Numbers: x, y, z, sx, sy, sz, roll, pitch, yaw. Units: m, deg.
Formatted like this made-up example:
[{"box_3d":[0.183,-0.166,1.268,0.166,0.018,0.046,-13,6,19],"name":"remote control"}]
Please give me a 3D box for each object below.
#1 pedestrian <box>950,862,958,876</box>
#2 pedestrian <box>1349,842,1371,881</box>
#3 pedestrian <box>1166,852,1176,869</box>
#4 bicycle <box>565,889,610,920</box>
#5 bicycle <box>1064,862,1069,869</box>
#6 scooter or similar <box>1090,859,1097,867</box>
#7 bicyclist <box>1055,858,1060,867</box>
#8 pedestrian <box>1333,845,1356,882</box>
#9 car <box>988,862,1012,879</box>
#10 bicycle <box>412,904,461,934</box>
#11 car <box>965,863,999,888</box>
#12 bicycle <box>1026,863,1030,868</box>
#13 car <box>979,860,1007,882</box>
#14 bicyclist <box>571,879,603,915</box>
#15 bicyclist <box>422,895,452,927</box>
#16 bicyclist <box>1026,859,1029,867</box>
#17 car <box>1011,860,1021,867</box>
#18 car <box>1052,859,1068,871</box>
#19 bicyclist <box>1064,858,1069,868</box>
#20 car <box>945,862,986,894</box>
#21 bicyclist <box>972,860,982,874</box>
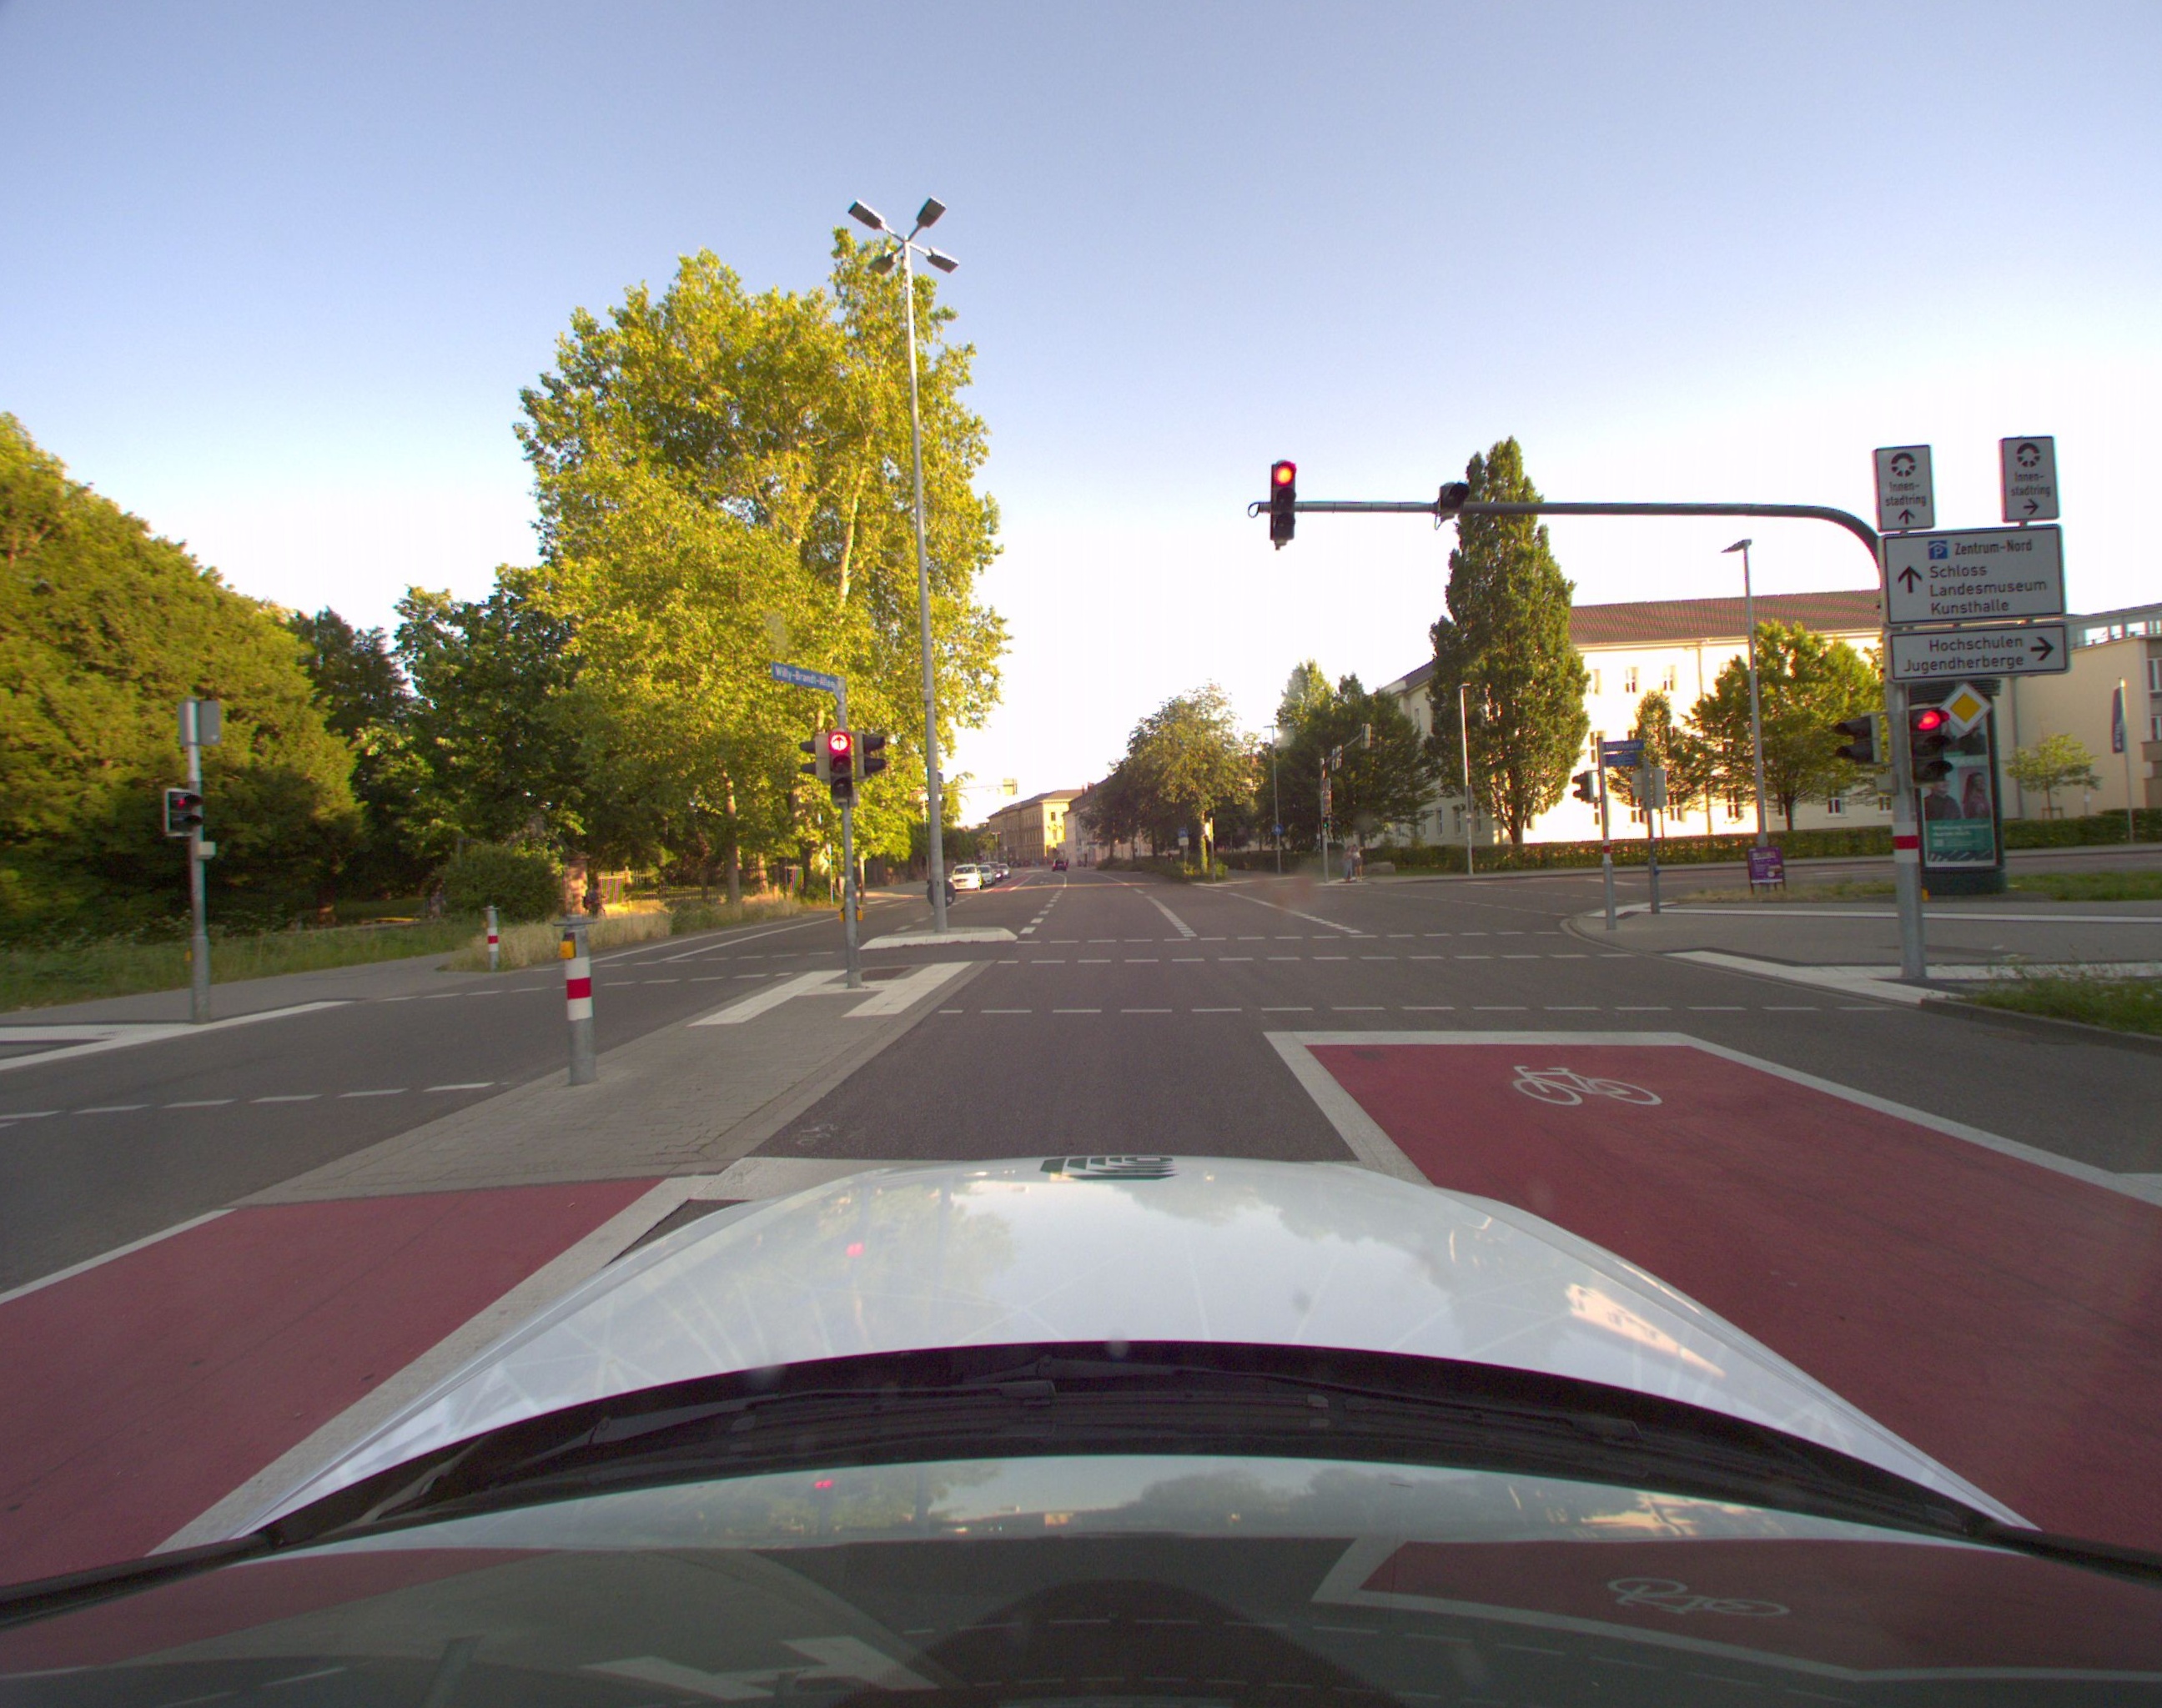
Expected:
[{"box_3d":[-14.485,1.725,93.108,0.678,1.622,0.689,-3,0,1],"name":"pedestrian"},{"box_3d":[12.590,0.332,36.723,0.678,1.754,0.689,-3,0,1],"name":"pedestrian"},{"box_3d":[9.377,0.647,84.597,0.769,1.739,0.805,-3,0,-8],"name":"pedestrian"},{"box_3d":[-20.664,2.117,34.075,1.954,1.256,0.797,-3,-1,33],"name":"bicycle"},{"box_3d":[-2.299,1.838,130.749,0.651,1.015,2.194,0,-1,-4],"name":"bicycle"},{"box_3d":[2.272,1.655,145.506,0.630,1.337,2.390,-2,-1,-12],"name":"scooter or similar"},{"box_3d":[-3.806,1.337,130.826,0.651,1.446,0.878,0,-1,-5],"name":"bicyclist"},{"box_3d":[11.890,0.415,36.746,0.678,1.622,0.845,-3,0,1],"name":"pedestrian"},{"box_3d":[-7.787,1.571,78.751,1.912,1.417,4.766,-5,0,-2],"name":"car"},{"box_3d":[-28.958,2.919,36.613,1.626,1.229,0.571,-3,0,-8],"name":"bicycle"},{"box_3d":[-7.023,1.494,58.283,1.912,1.583,4.670,-5,0,-2],"name":"car"},{"box_3d":[-12.498,2.743,191.450,0.652,1.015,2.191,0,-1,-9],"name":"bicycle"},{"box_3d":[-7.332,1.414,68.181,1.912,1.624,4.635,-5,0,-2],"name":"car"},{"box_3d":[-20.657,1.810,34.087,0.880,1.427,0.797,-3,-1,33],"name":"bicyclist"},{"box_3d":[-28.986,2.559,36.637,0.836,1.361,0.571,-3,0,-8],"name":"bicyclist"},{"box_3d":[-12.497,2.131,191.425,0.652,1.698,0.954,0,-1,-9],"name":"bicyclist"},{"box_3d":[-14.907,2.248,187.902,1.915,1.417,4.756,-5,0,-8],"name":"car"},{"box_3d":[-2.692,1.427,104.138,1.862,1.510,3.999,-2,-1,0],"name":"car"},{"box_3d":[-2.300,1.428,130.718,0.651,1.475,0.939,0,-1,-5],"name":"bicyclist"},{"box_3d":[-7.131,1.448,50.670,1.912,1.695,4.422,-5,0,-2],"name":"car"},{"box_3d":[-10.899,1.373,85.075,0.852,1.431,0.944,-3,0,2],"name":"bicyclist"}]
